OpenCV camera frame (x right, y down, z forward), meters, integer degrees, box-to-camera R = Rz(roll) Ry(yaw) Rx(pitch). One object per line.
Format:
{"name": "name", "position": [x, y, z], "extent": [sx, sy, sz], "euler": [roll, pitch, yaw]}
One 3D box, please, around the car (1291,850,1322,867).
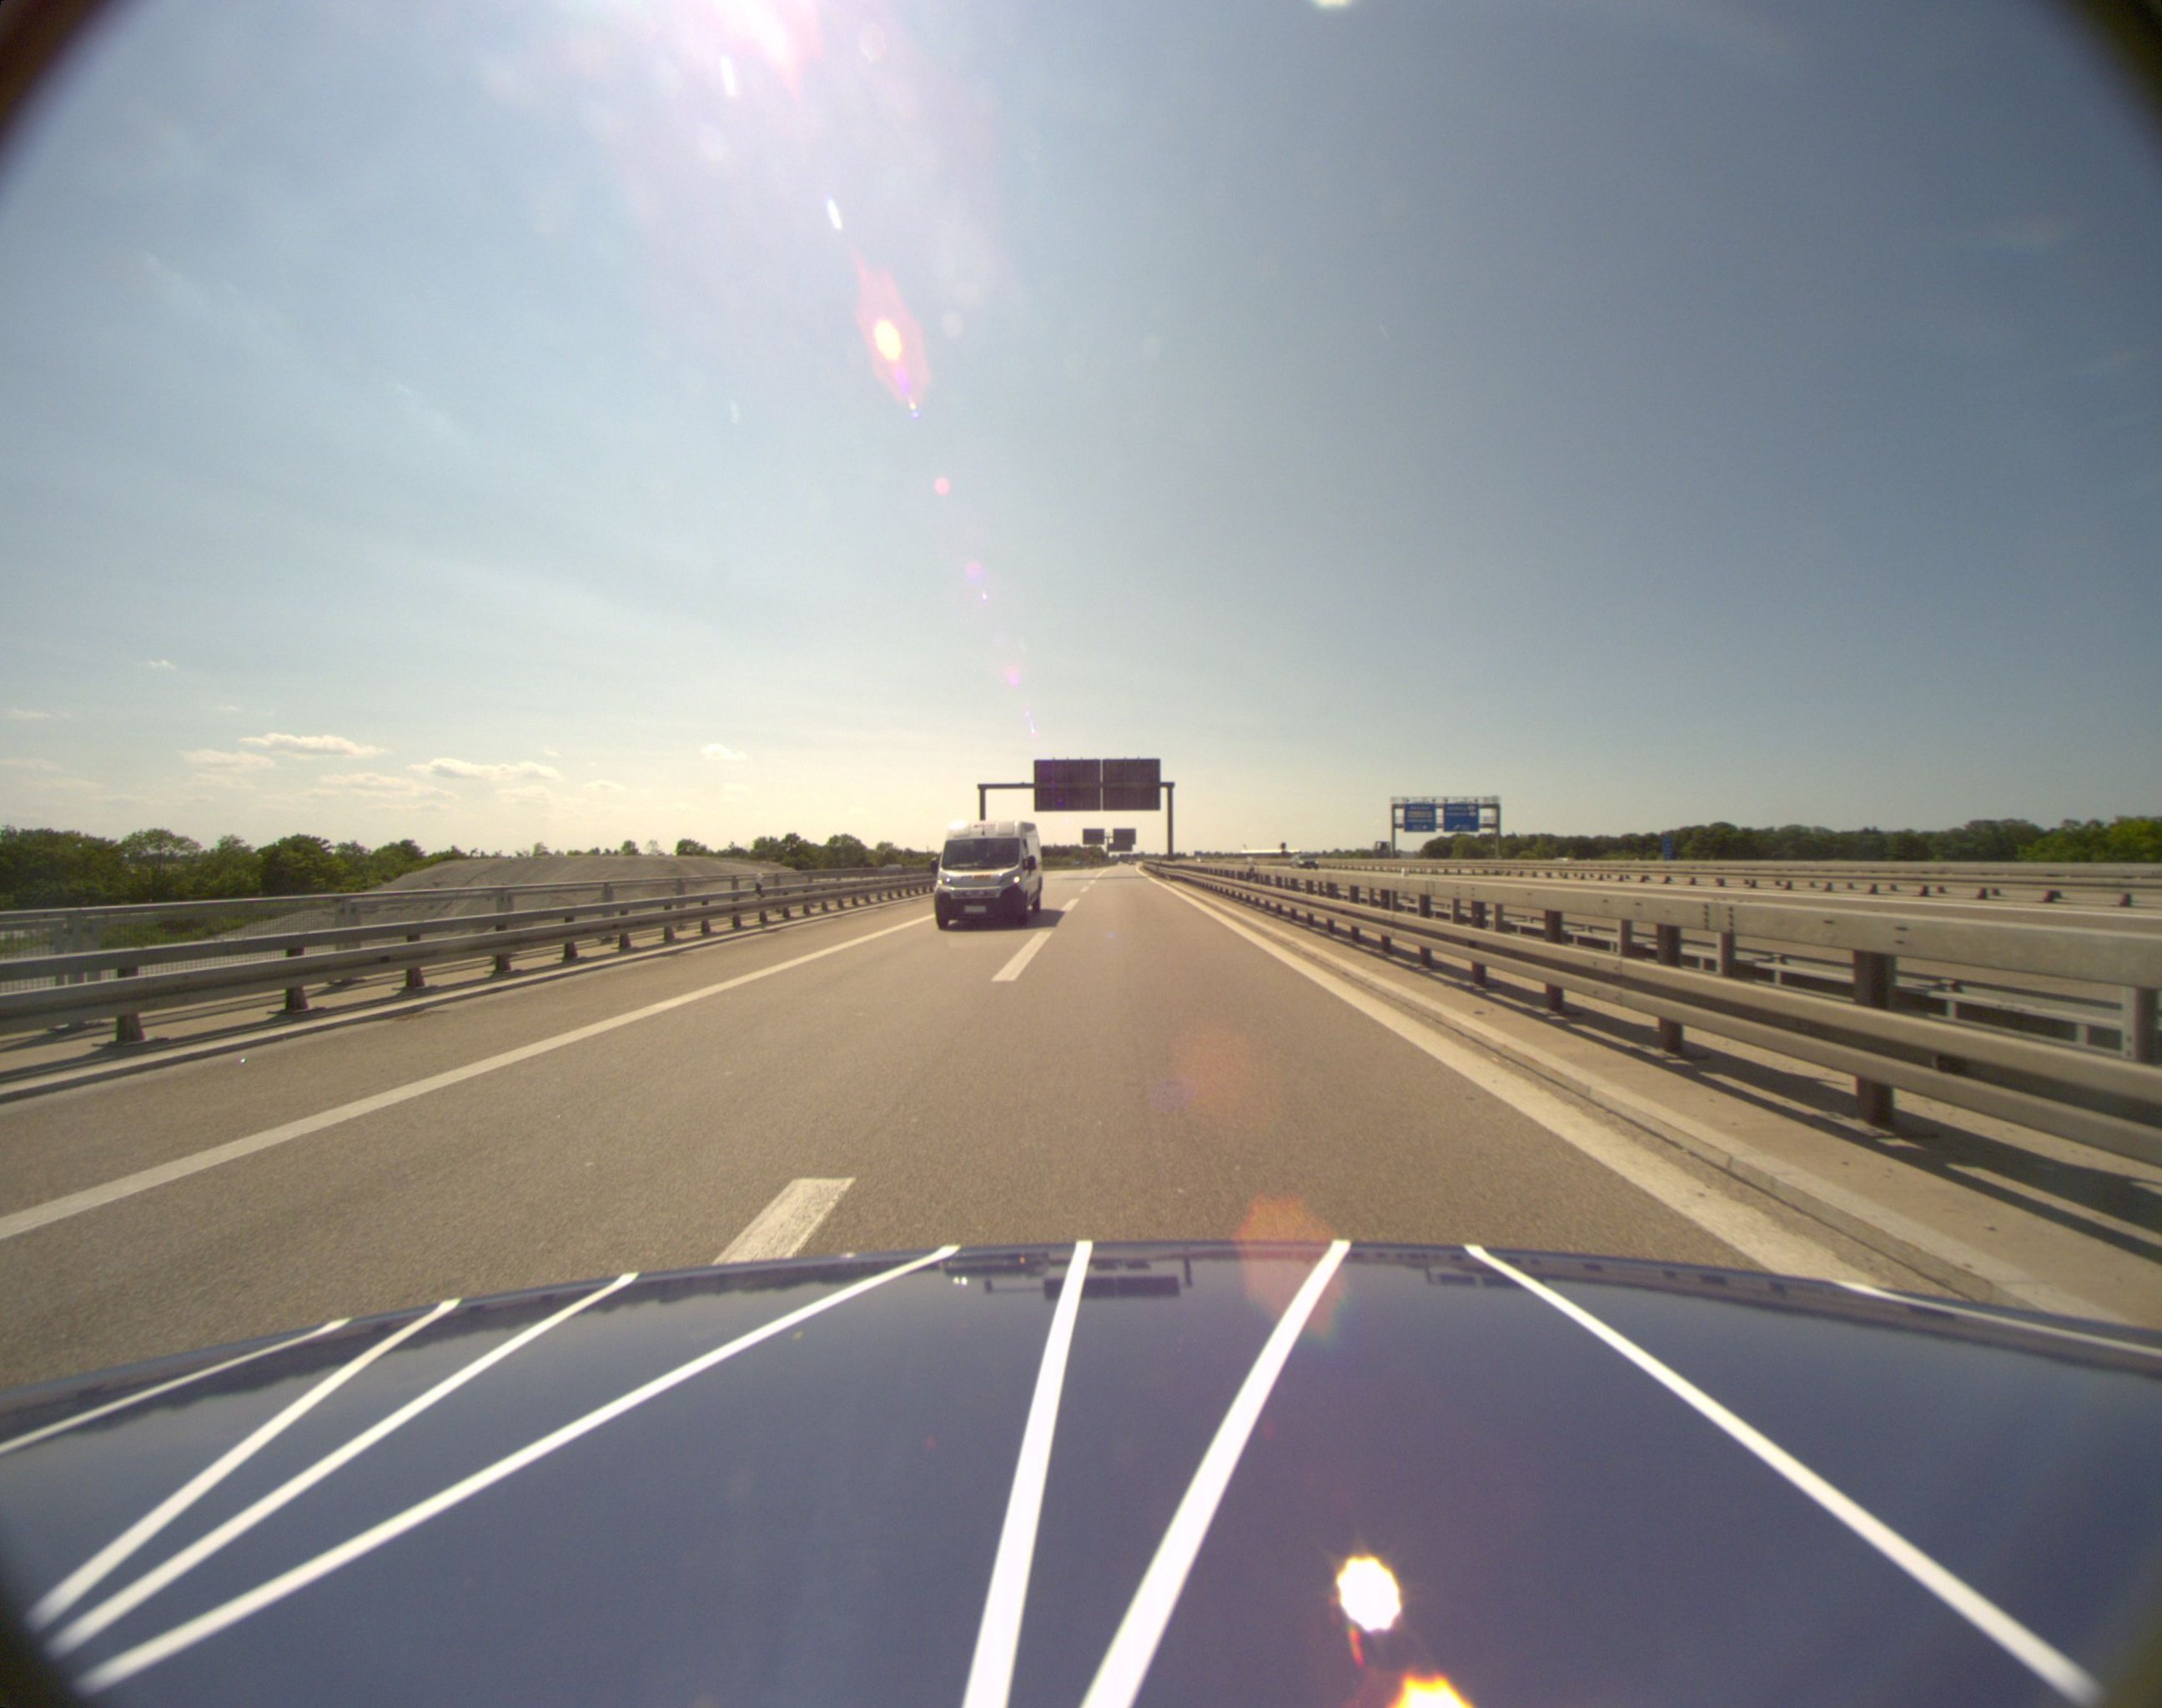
{"name": "car", "position": [21.590, 0.426, 72.933], "extent": [1.842, 1.508, 4.576], "euler": [-1, 0, 3]}

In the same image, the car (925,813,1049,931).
{"name": "car", "position": [-2.159, 0.406, 19.488], "extent": [2.087, 2.509, 6.238], "euler": [-1, 0, 3]}

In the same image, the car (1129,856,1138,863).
{"name": "car", "position": [12.261, 1.285, 178.030], "extent": [1.998, 1.744, 4.001], "euler": [-1, 0, 4]}

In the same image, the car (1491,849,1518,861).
{"name": "car", "position": [54.484, 0.128, 97.813], "extent": [1.582, 1.347, 3.343], "euler": [0, 2, 2]}

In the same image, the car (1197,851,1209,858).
{"name": "car", "position": [25.224, 0.078, 157.298], "extent": [1.842, 1.508, 4.576], "euler": [-1, 0, 3]}
